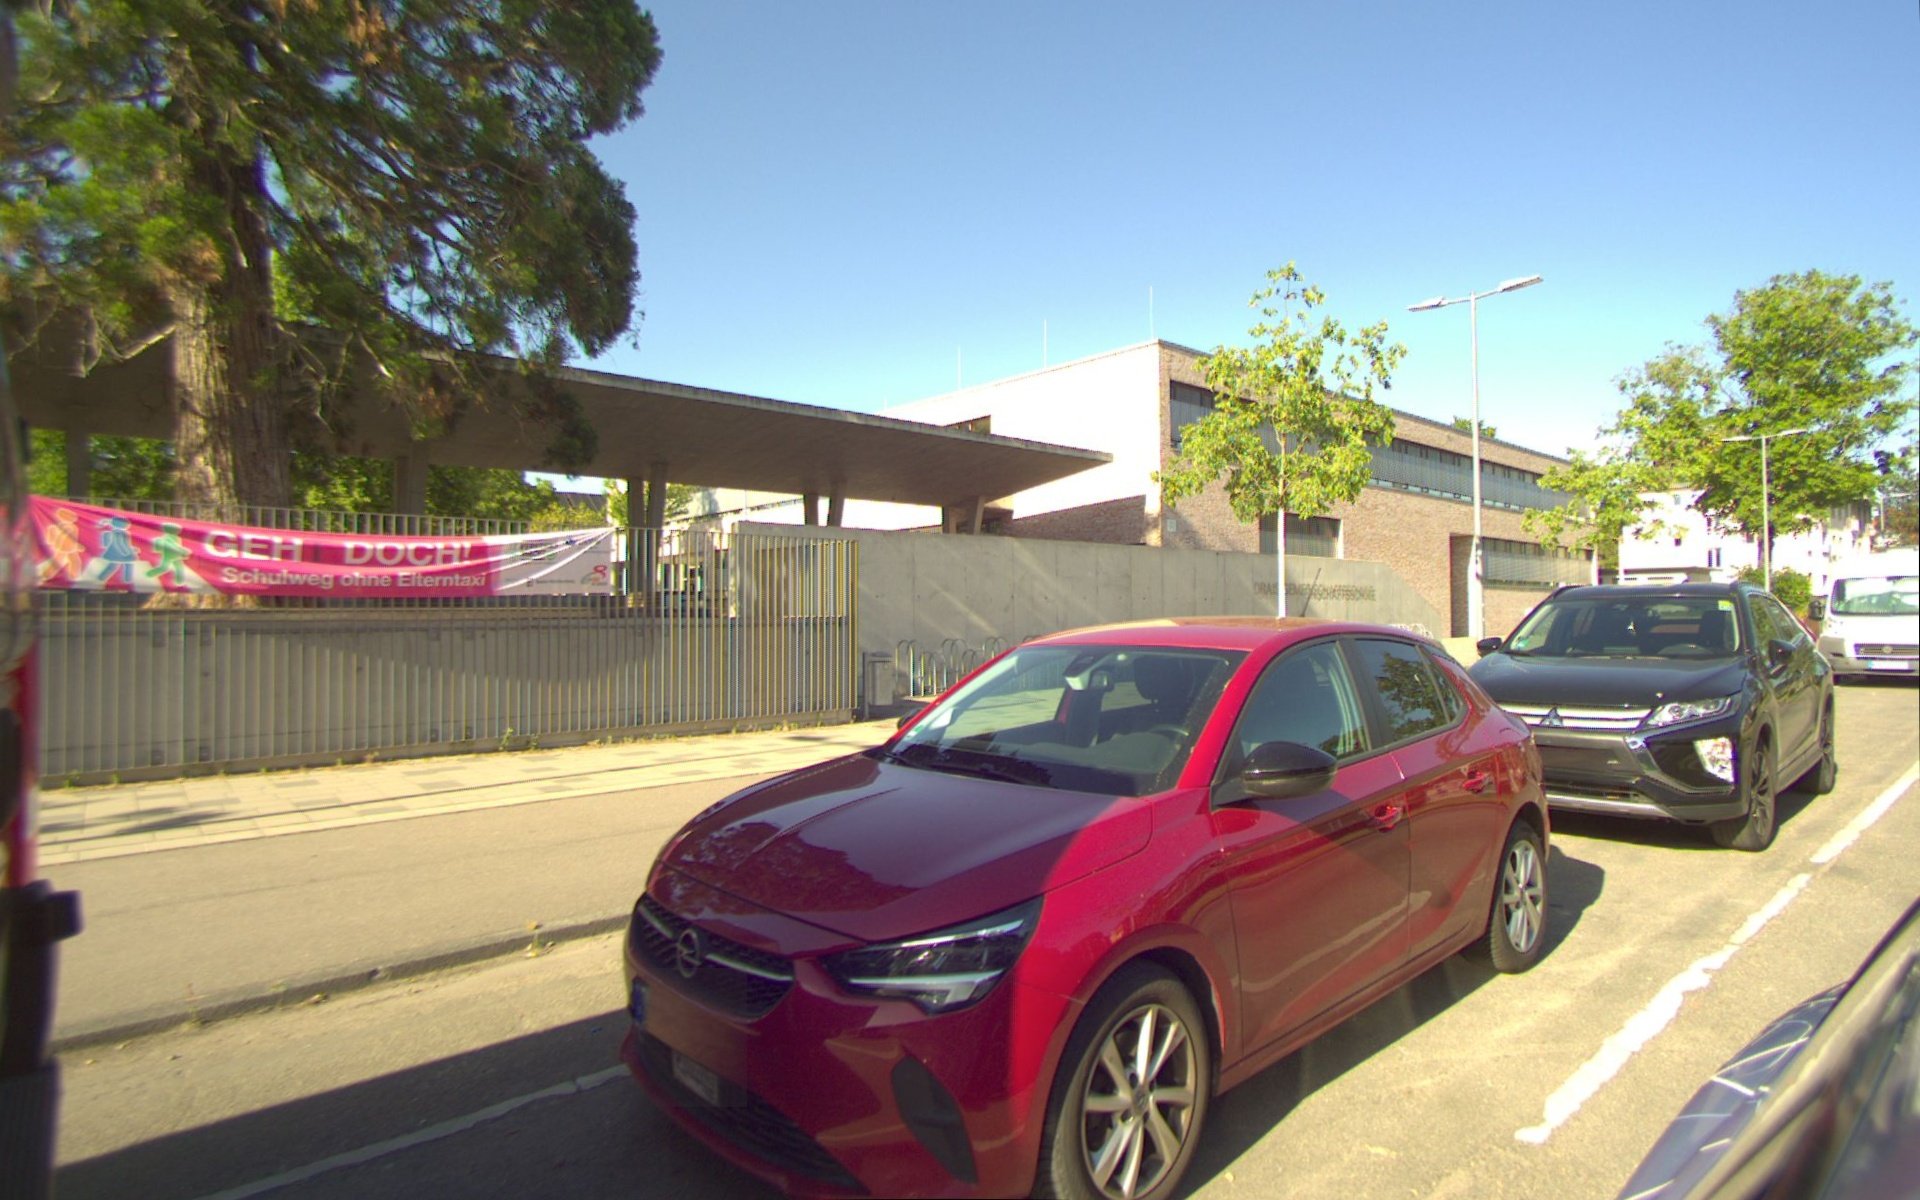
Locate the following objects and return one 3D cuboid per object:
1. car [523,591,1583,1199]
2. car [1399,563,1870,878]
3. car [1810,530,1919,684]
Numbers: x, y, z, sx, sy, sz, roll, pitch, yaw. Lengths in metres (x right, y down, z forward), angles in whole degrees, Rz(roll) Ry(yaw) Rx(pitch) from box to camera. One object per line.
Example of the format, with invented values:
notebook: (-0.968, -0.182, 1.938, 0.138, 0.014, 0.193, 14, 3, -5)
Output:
car: (0.663, 0.719, 3.796, 3.881, 1.473, 1.797, 0, -1, -42)
car: (5.192, 0.627, 7.521, 4.426, 1.661, 1.848, 0, -1, -42)
car: (18.078, 0.105, 19.083, 5.337, 2.607, 2.244, 0, -1, -41)
